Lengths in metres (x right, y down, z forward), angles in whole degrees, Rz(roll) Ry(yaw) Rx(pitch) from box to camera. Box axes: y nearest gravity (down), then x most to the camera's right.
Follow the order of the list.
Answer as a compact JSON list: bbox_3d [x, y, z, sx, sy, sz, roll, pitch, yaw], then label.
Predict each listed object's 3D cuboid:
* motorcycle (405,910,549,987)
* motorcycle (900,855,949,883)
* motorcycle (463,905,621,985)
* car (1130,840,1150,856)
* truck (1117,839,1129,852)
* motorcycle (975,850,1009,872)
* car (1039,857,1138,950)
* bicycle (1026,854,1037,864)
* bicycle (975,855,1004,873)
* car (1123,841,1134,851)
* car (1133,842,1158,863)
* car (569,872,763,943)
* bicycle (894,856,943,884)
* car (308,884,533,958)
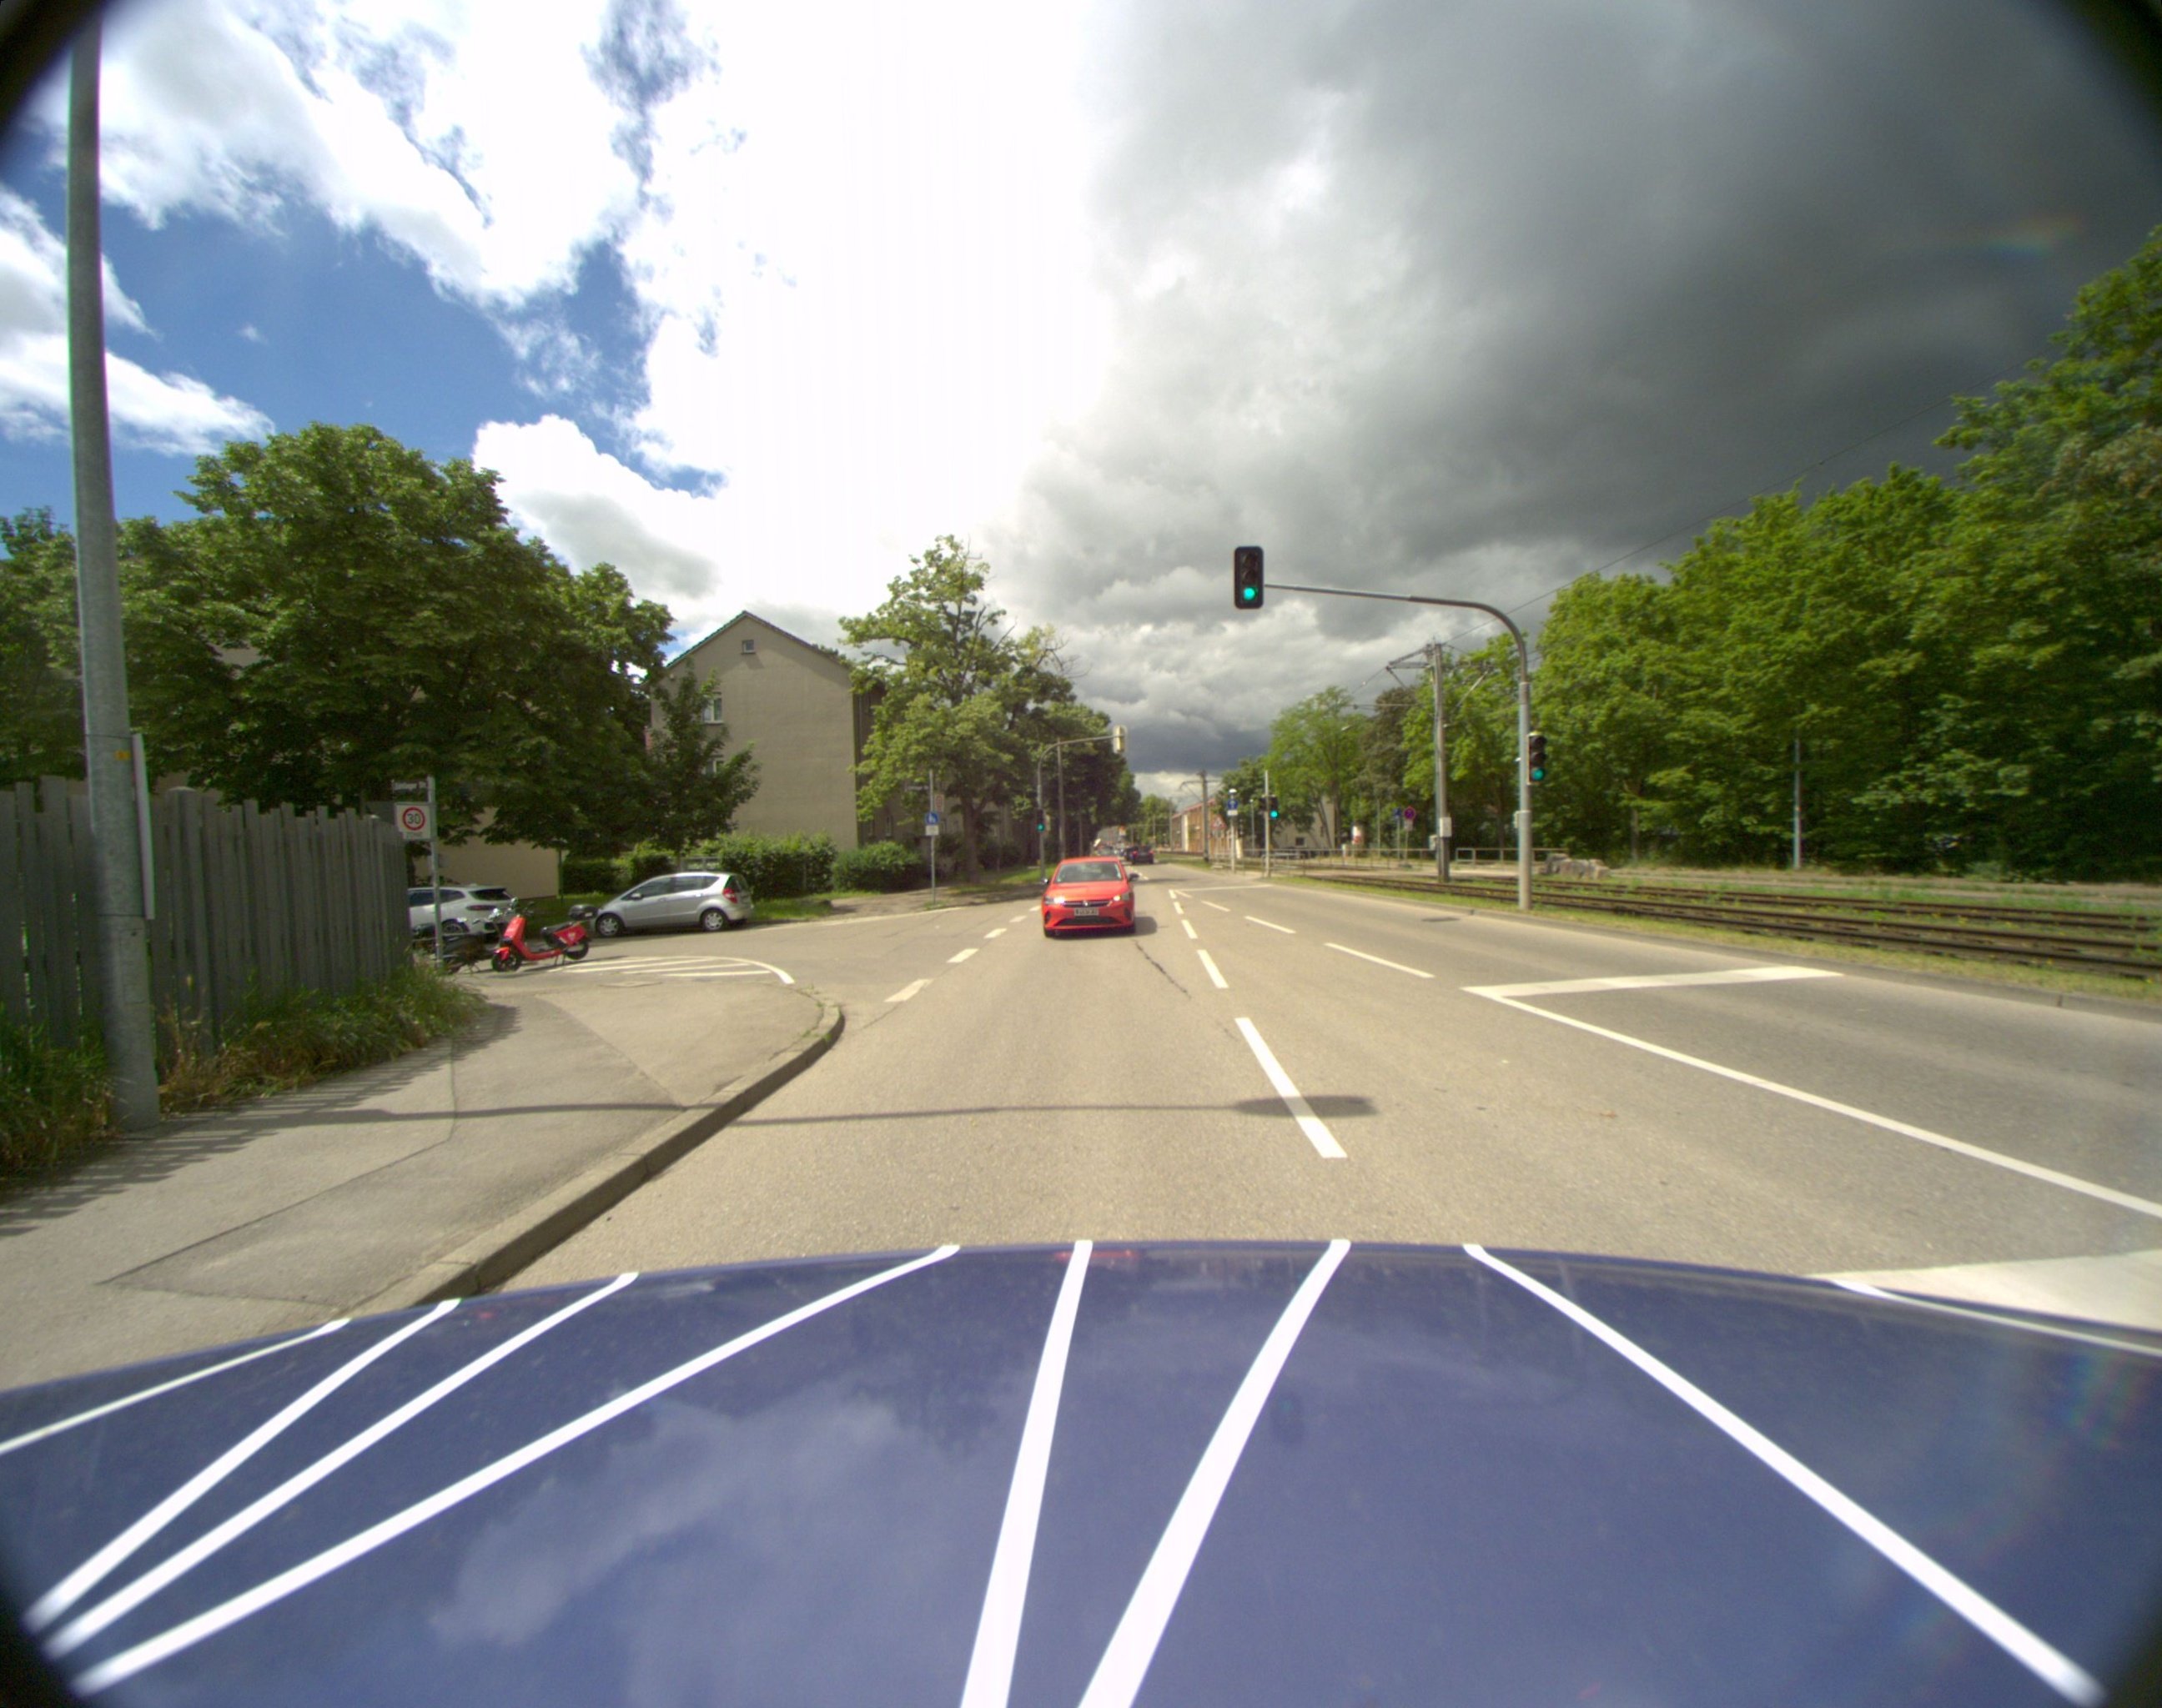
[{"bbox_3d":[-11.342,1.735,14.368,0.659,1.142,1.995,-3,1,20],"label":"motorcycle"},{"bbox_3d":[-7.644,0.742,37.079,2.208,1.275,0.681,-2,2,10],"label":"motorcycle"},{"bbox_3d":[-10.109,1.670,14.406,0.659,1.142,2.427,-3,1,20],"label":"motorcycle"},{"bbox_3d":[6.075,-0.626,78.825,1.717,1.557,4.166,-3,0,1],"label":"car"},{"bbox_3d":[9.269,-1.978,169.050,2.096,2.724,5.096,-3,1,-1],"label":"truck"},{"bbox_3d":[-5.984,0.489,51.234,2.000,1.421,1.018,-1,1,12],"label":"motorcycle"},{"bbox_3d":[0.183,0.879,15.276,1.666,1.513,3.786,-3,1,1],"label":"car"},{"bbox_3d":[-5.622,0.560,86.297,0.437,1.074,1.750,-4,2,-33],"label":"bicycle"},{"bbox_3d":[-6.076,0.660,50.377,1.801,1.078,0.455,-2,1,7],"label":"bicycle"},{"bbox_3d":[7.530,-1.216,120.956,1.585,1.477,3.806,-3,0,2],"label":"car"},{"bbox_3d":[5.473,-0.157,65.085,1.711,1.666,4.227,-3,1,0],"label":"car"},{"bbox_3d":[-10.858,1.363,20.155,3.999,1.545,1.938,-3,1,-6],"label":"car"},{"bbox_3d":[-7.757,0.748,36.293,2.171,1.275,0.681,-2,2,10],"label":"bicycle"},{"bbox_3d":[-16.845,1.681,19.567,4.016,1.554,1.781,-3,0,-6],"label":"car"}]
